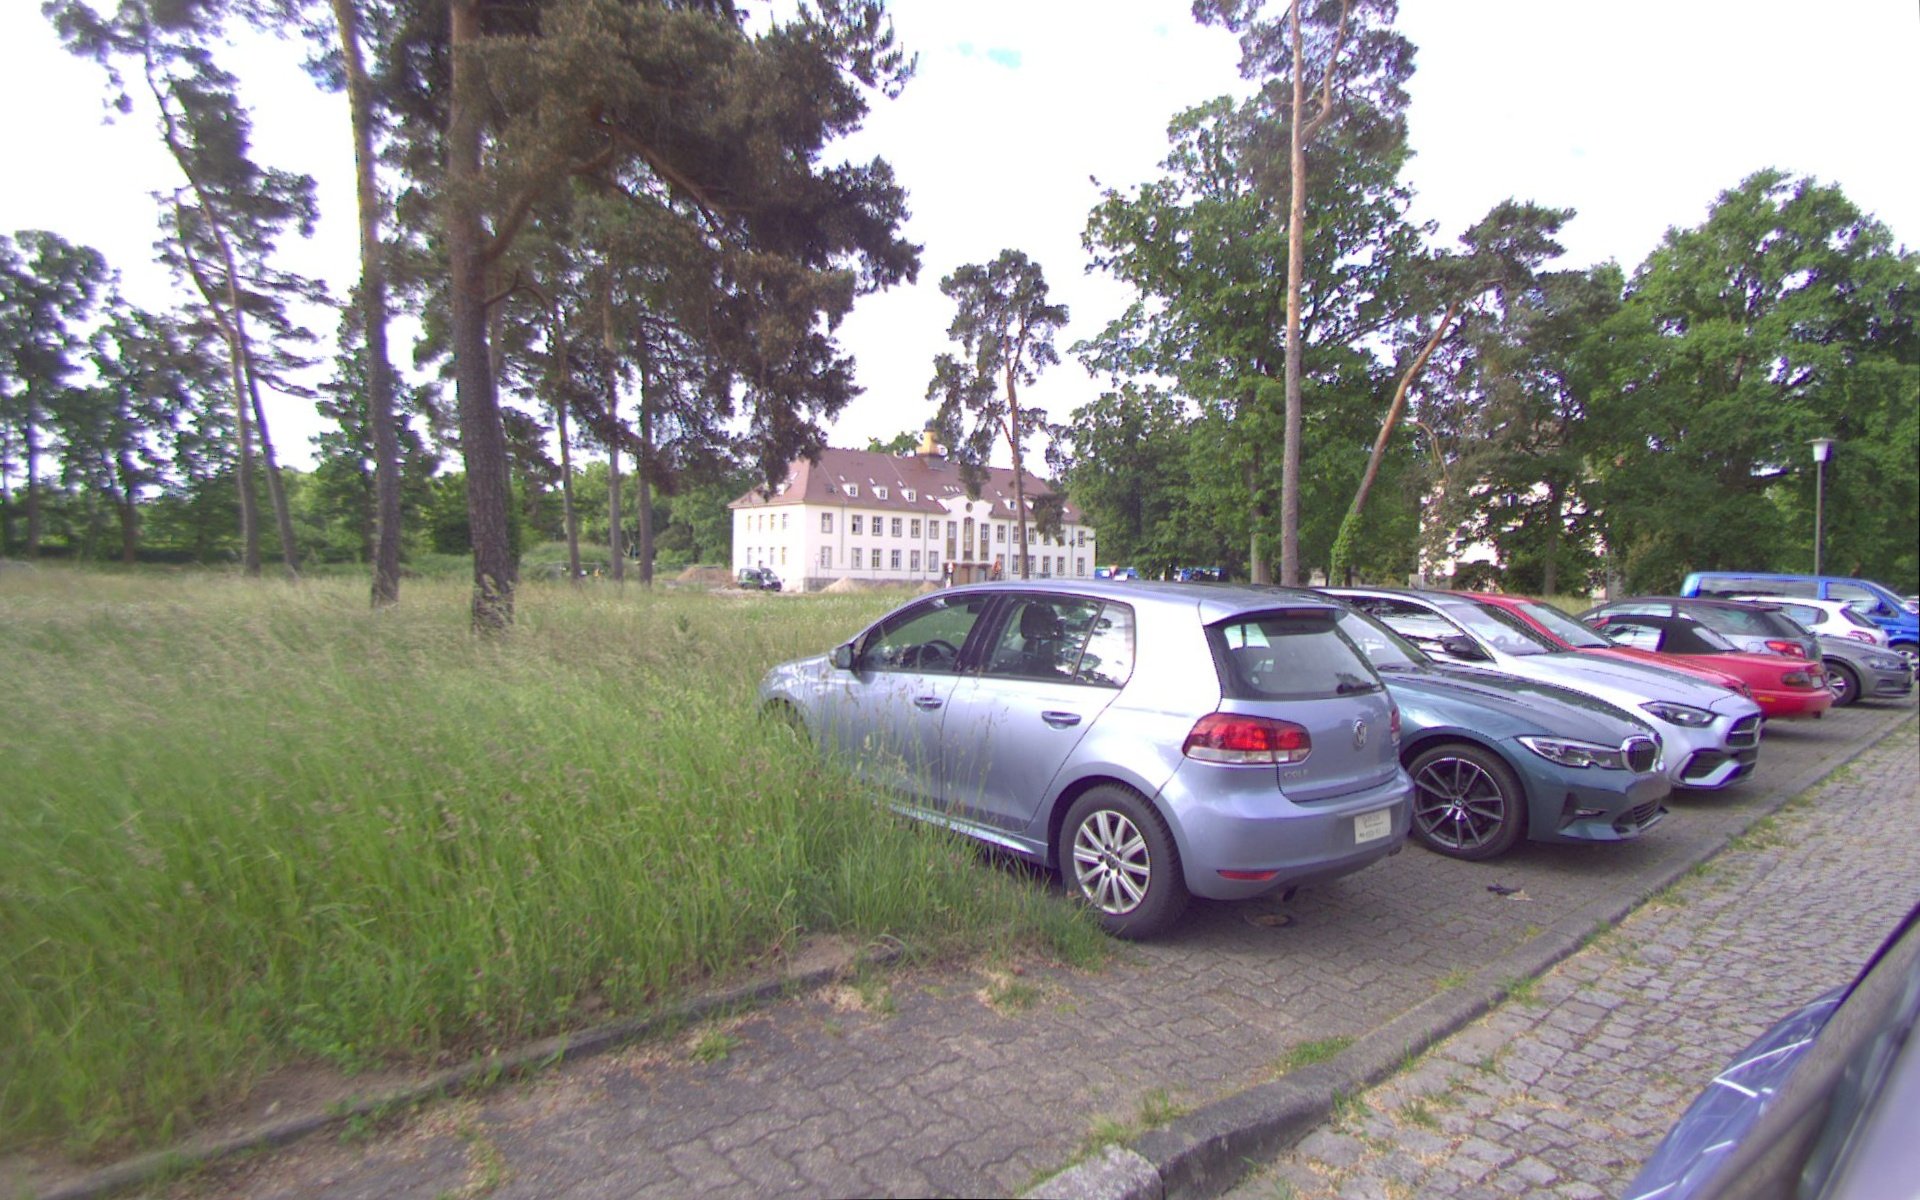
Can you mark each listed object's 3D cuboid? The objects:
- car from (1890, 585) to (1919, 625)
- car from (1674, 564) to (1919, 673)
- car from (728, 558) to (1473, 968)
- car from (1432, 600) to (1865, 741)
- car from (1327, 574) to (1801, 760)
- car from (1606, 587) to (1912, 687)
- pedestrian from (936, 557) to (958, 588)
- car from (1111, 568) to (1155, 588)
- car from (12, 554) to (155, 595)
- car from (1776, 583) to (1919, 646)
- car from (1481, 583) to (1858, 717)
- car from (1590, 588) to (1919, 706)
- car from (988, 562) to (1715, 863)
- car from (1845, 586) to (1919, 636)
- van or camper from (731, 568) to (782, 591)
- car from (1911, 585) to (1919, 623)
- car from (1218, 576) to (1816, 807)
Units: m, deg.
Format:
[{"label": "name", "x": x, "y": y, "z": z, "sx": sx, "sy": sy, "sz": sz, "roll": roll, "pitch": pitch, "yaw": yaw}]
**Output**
[{"label": "car", "x": 39.717, "y": 0.254, "z": 40.216, "sx": 1.964, "sy": 1.589, "sz": 3.791, "roll": 0, "pitch": 2, "yaw": -39}, {"label": "car", "x": 17.999, "y": 0.299, "z": 20.955, "sx": 1.963, "sy": 2.038, "sz": 4.844, "roll": 0, "pitch": 2, "yaw": -36}, {"label": "car", "x": 0.425, "y": 0.507, "z": 5.671, "sx": 1.765, "sy": 1.436, "sz": 3.996, "roll": 0, "pitch": 2, "yaw": -39}, {"label": "car", "x": 8.010, "y": 0.695, "z": 12.072, "sx": 1.764, "sy": 1.250, "sz": 3.932, "roll": 0, "pitch": 2, "yaw": -39}, {"label": "car", "x": 6.158, "y": 0.525, "z": 10.721, "sx": 1.764, "sy": 1.531, "sz": 3.934, "roll": 0, "pitch": 2, "yaw": -38}, {"label": "car", "x": 13.860, "y": 0.549, "z": 17.735, "sx": 1.765, "sy": 1.467, "sz": 3.931, "roll": 0, "pitch": 2, "yaw": -40}, {"label": "pedestrian", "x": -0.914, "y": -1.941, "z": 71.365, "sx": 1.037, "sy": 2.204, "sz": 1.183, "roll": 0, "pitch": 1, "yaw": -41}, {"label": "car", "x": 18.211, "y": -2.280, "z": 106.465, "sx": 4.753, "sy": 2.038, "sz": 2.163, "roll": 0, "pitch": 2, "yaw": -43}, {"label": "car", "x": -35.993, "y": -1.044, "z": 41.636, "sx": 4.375, "sy": 1.605, "sz": 1.996, "roll": 0, "pitch": 2, "yaw": -43}, {"label": "car", "x": 24.470, "y": 0.367, "z": 26.893, "sx": 1.835, "sy": 1.523, "sz": 3.998, "roll": 0, "pitch": 2, "yaw": -38}, {"label": "car", "x": 9.637, "y": 0.560, "z": 13.996, "sx": 1.764, "sy": 1.494, "sz": 3.932, "roll": 0, "pitch": 2, "yaw": -39}, {"label": "car", "x": 12.083, "y": 0.593, "z": 15.344, "sx": 1.765, "sy": 1.453, "sz": 3.931, "roll": 0, "pitch": 2, "yaw": -40}, {"label": "car", "x": 2.407, "y": 0.485, "z": 7.333, "sx": 1.765, "sy": 1.463, "sz": 4.628, "roll": 0, "pitch": 2, "yaw": -40}, {"label": "car", "x": 32.094, "y": 0.381, "z": 33.541, "sx": 1.967, "sy": 1.589, "sz": 3.991, "roll": 0, "pitch": 2, "yaw": -44}, {"label": "van or camper", "x": -21.519, "y": -2.179, "z": 106.986, "sx": 2.423, "sy": 2.335, "sz": 6.116, "roll": 0, "pitch": 2, "yaw": -43}, {"label": "car", "x": 43.142, "y": 0.228, "z": 42.983, "sx": 1.964, "sy": 1.645, "sz": 3.791, "roll": 0, "pitch": 2, "yaw": -39}, {"label": "car", "x": 4.572, "y": 0.566, "z": 8.928, "sx": 1.764, "sy": 1.463, "sz": 4.268, "roll": 0, "pitch": 2, "yaw": -38}]
